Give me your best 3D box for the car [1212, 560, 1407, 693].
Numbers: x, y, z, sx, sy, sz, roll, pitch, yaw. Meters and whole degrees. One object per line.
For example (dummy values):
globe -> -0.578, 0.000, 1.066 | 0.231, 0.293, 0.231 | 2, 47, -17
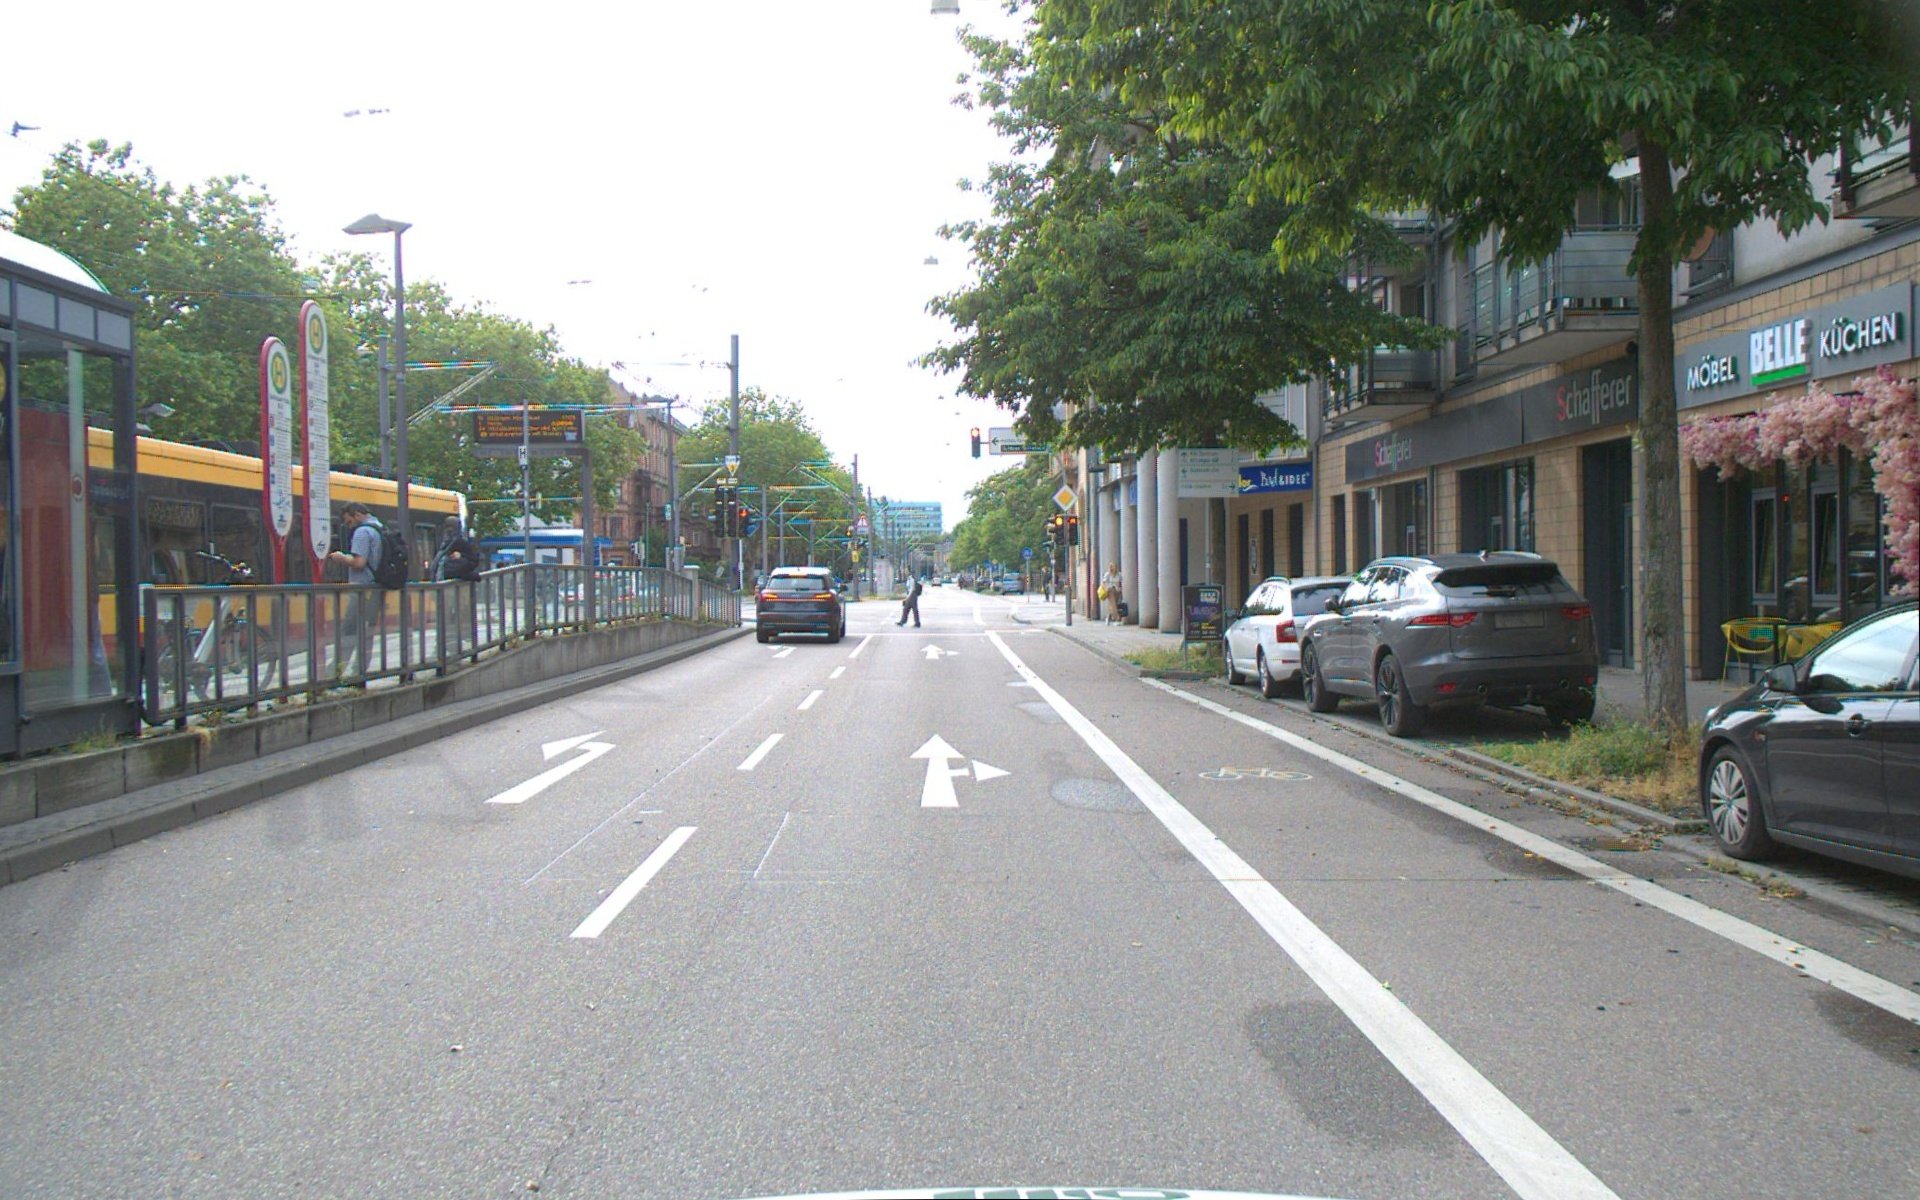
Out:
car -> 4.586, 0.292, 22.316 | 1.642, 1.525, 4.390 | -3, 1, 0

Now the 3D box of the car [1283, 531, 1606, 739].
car -> 4.733, 0.281, 16.924 | 1.677, 1.746, 4.709 | -3, 1, -2

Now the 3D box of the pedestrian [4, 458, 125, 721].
pedestrian -> -5.795, -0.070, 10.719 | 0.520, 1.661, 0.471 | 1, 0, -3

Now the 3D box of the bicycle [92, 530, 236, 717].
bicycle -> -5.617, 0.151, 11.729 | 0.410, 1.243, 1.289 | 1, 1, -1

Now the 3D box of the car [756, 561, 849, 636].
car -> -3.551, -0.063, 37.887 | 1.842, 1.629, 4.356 | 0, 1, -2

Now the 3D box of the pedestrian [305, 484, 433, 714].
pedestrian -> -5.433, -0.015, 15.235 | 0.737, 2.049, 0.818 | 1, 0, 22

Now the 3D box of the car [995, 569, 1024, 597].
car -> 3.789, -1.315, 127.387 | 1.953, 2.049, 3.999 | 1, 1, -1

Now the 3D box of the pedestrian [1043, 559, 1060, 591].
pedestrian -> 4.828, -1.330, 87.651 | 0.834, 1.683, 0.508 | 1, 0, -3

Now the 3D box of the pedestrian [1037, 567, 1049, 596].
pedestrian -> 4.511, -0.986, 89.824 | 0.535, 1.564, 0.465 | 1, 0, -5

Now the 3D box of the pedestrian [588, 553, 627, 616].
pedestrian -> -10.228, -0.458, 47.989 | 0.900, 1.815, 0.645 | 1, 0, 37

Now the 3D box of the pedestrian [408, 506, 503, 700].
pedestrian -> -5.489, 0.023, 17.989 | 0.747, 2.049, 0.807 | 0, 0, -38

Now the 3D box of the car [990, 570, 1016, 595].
car -> 3.507, -1.431, 136.817 | 1.953, 2.049, 3.999 | 1, 1, -1

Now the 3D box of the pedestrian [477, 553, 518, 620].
pedestrian -> -12.881, -0.373, 46.063 | 0.998, 1.845, 0.580 | 1, 0, -24

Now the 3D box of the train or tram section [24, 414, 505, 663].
train or tram section -> -12.511, -1.007, 32.494 | 2.998, 3.651, 15.846 | 1, 1, -1

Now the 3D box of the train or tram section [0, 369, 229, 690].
train or tram section -> -12.246, -0.789, 16.895 | 2.998, 3.593, 15.292 | 1, 1, -1

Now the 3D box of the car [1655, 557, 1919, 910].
car -> 4.902, 0.548, 7.445 | 1.642, 1.467, 4.408 | -3, 1, 0

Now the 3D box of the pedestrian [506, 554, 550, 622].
pedestrian -> -11.663, -0.317, 44.670 | 1.113, 1.809, 0.625 | 0, 0, -19

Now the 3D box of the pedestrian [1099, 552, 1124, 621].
pedestrian -> 4.138, -0.370, 45.233 | 0.603, 1.837, 0.737 | -1, 1, 0

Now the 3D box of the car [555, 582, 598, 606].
car -> -22.166, -0.362, 95.660 | 1.601, 1.348, 3.999 | 1, 1, -1

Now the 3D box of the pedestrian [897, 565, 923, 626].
pedestrian -> -1.390, -0.127, 46.248 | 0.713, 1.690, 0.756 | 1, 0, -1
